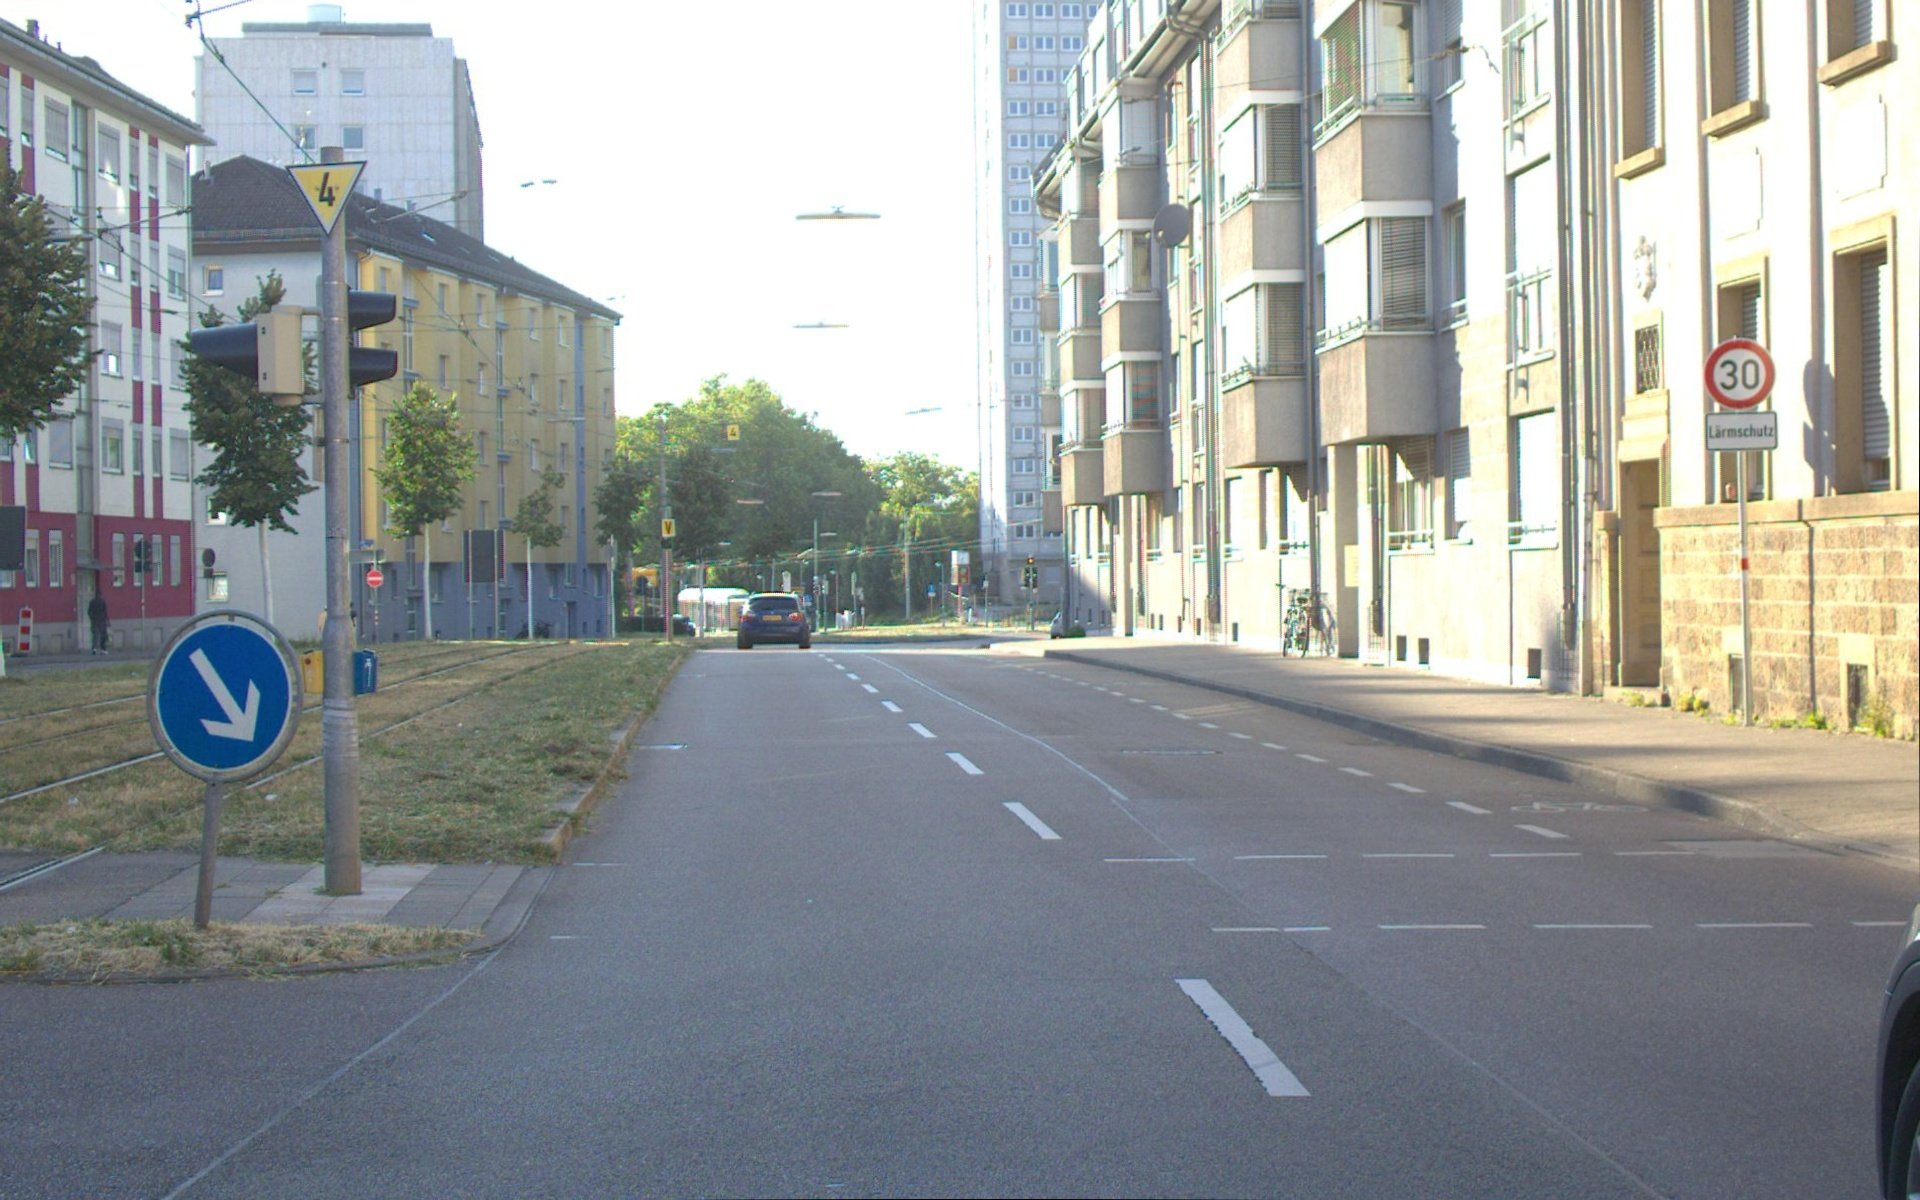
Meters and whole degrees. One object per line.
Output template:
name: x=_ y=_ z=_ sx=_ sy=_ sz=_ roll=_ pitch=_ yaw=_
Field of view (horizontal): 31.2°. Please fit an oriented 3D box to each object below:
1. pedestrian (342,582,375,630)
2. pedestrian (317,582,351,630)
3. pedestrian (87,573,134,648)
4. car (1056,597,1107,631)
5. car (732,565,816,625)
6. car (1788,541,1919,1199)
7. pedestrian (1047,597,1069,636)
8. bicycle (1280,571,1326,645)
pedestrian: x=-21.197 y=0.203 z=121.171 sx=0.962 sy=1.664 sz=1.011 roll=0 pitch=0 yaw=2
pedestrian: x=-22.020 y=0.200 z=120.909 sx=0.962 sy=1.688 sz=1.011 roll=0 pitch=0 yaw=2
pedestrian: x=-23.121 y=0.277 z=93.541 sx=1.005 sy=2.029 sz=0.886 roll=0 pitch=0 yaw=3
car: x=5.755 y=0.653 z=162.457 sx=1.994 sy=1.558 sz=3.999 roll=0 pitch=0 yaw=8
car: x=-4.698 y=-0.135 z=87.281 sx=1.926 sy=1.451 sz=4.328 roll=-1 pitch=0 yaw=-1
car: x=2.560 y=0.673 z=4.596 sx=1.697 sy=1.547 sz=4.226 roll=0 pitch=0 yaw=-3
pedestrian: x=3.115 y=0.533 z=109.044 sx=0.691 sy=1.230 sz=0.736 roll=0 pitch=0 yaw=1
bicycle: x=5.125 y=0.119 z=51.412 sx=0.383 sy=1.092 sz=1.504 roll=-2 pitch=0 yaw=-5
